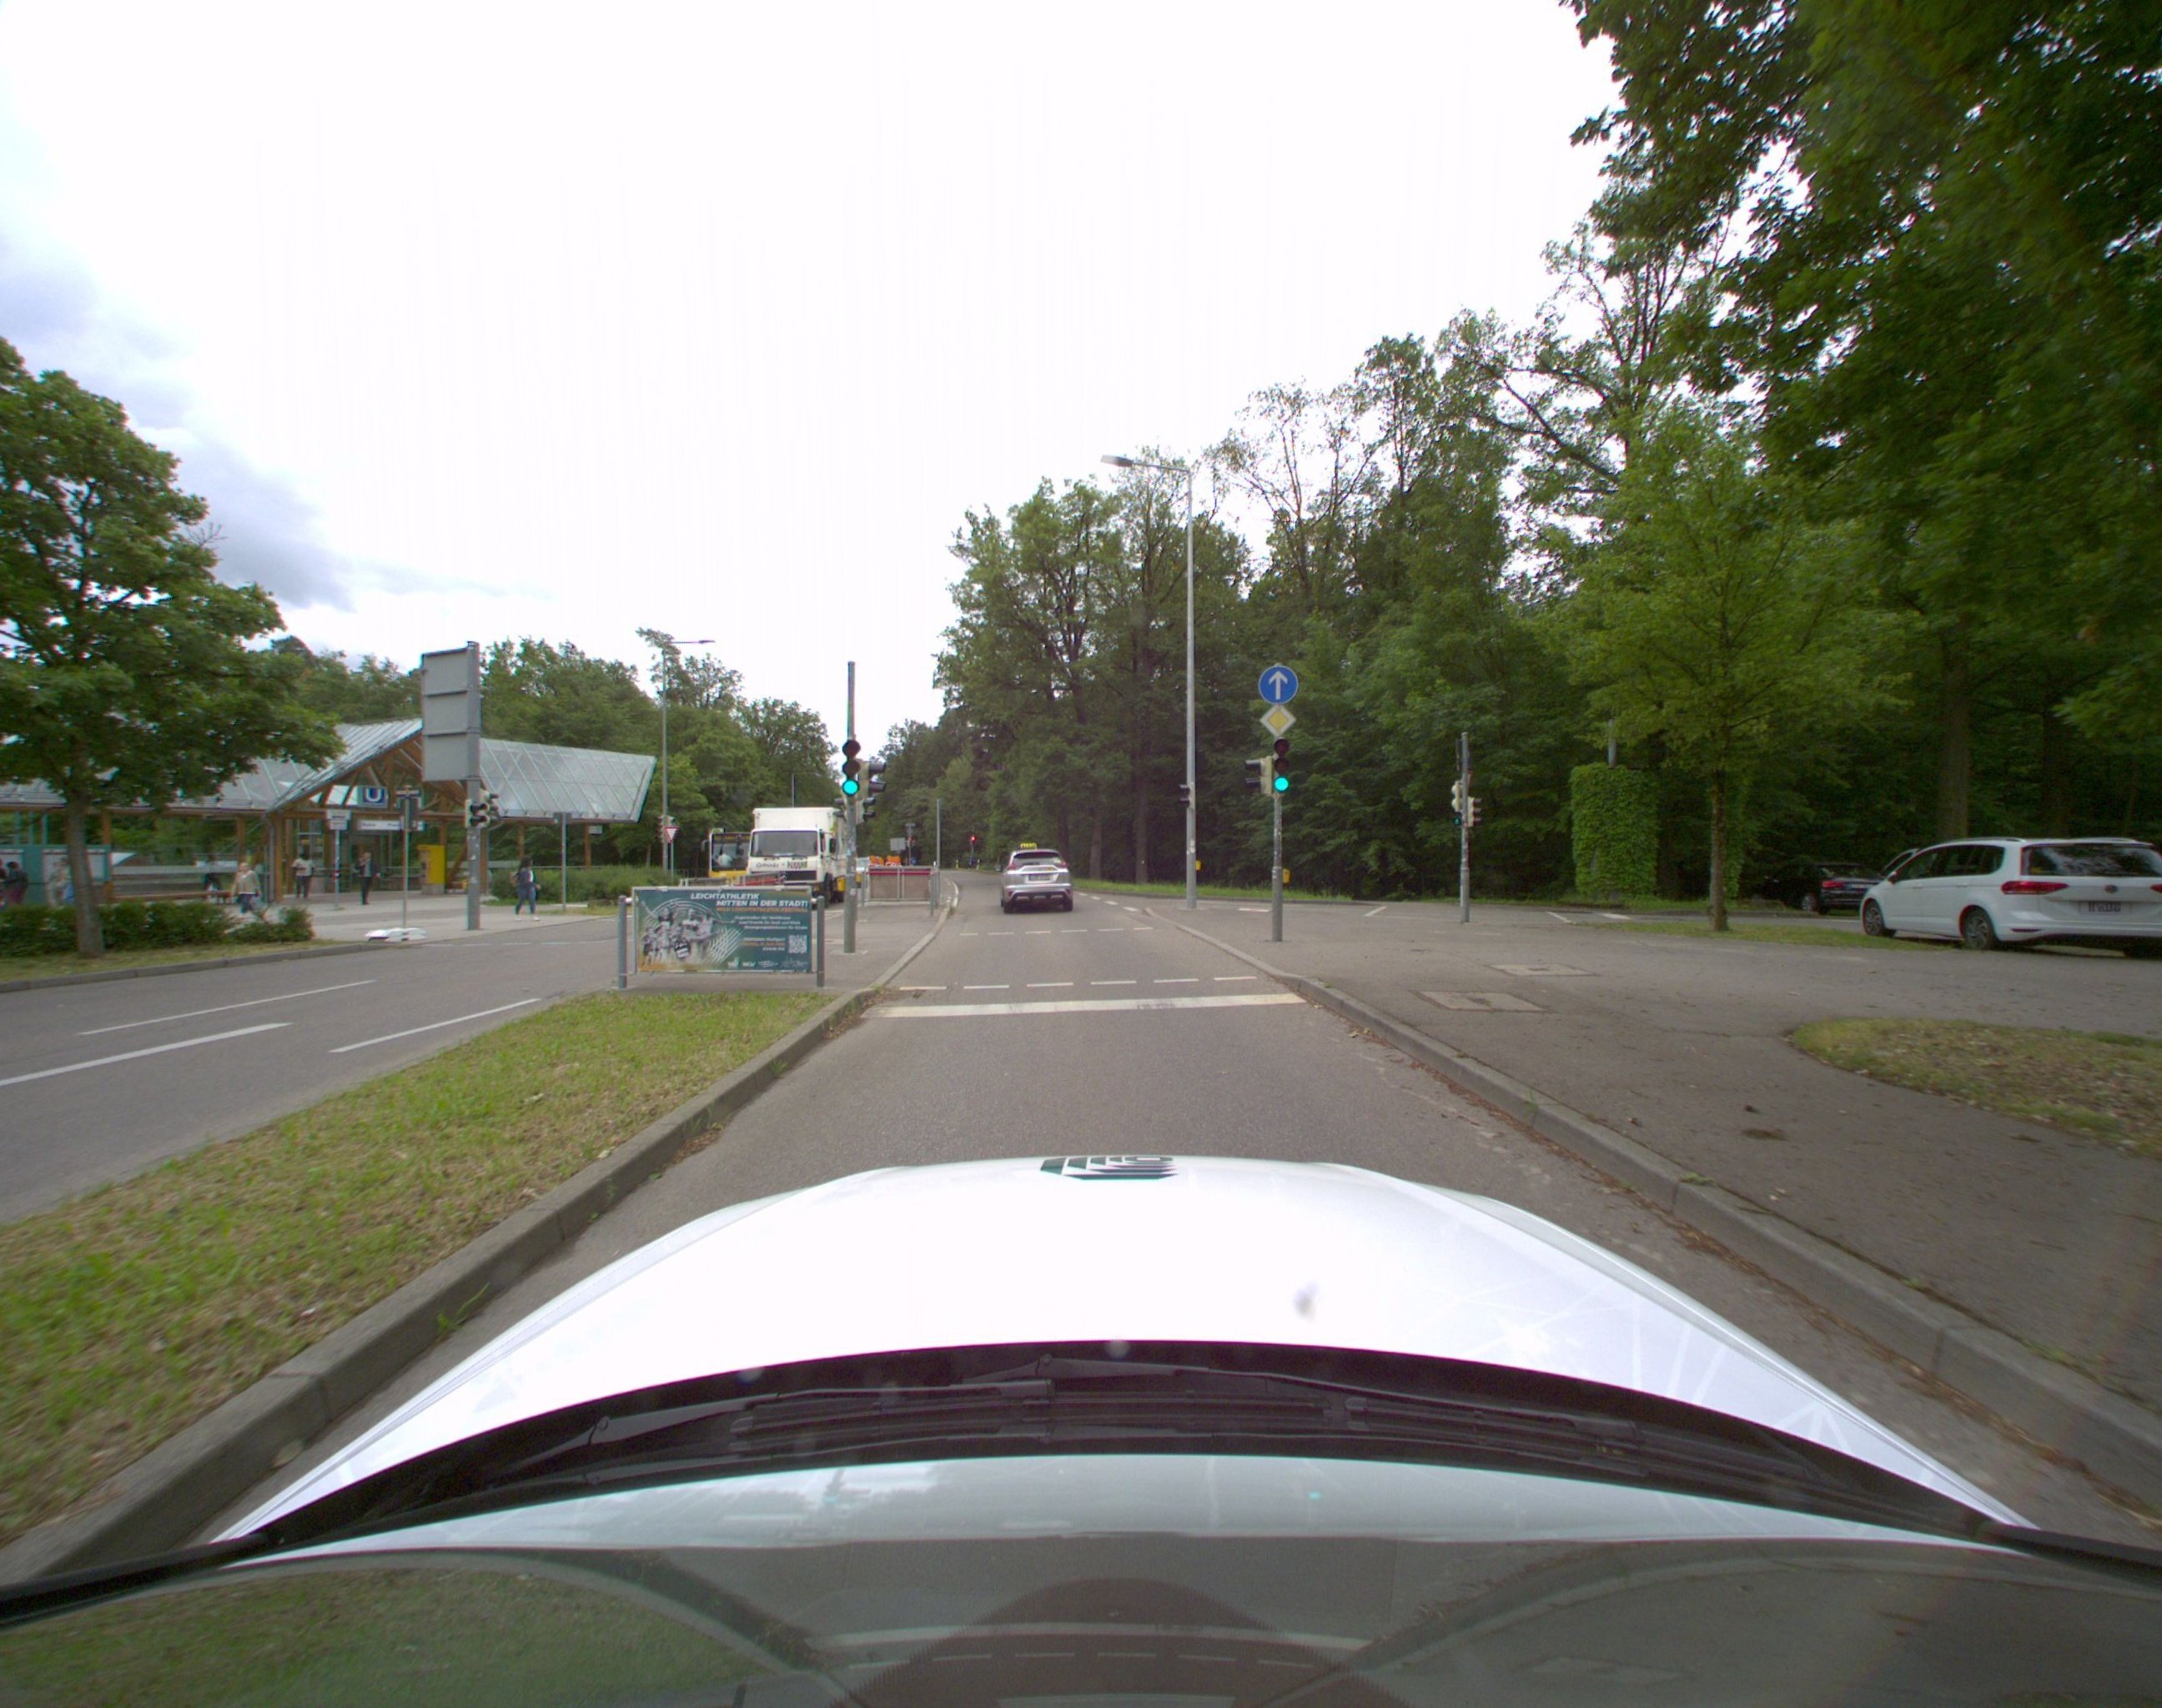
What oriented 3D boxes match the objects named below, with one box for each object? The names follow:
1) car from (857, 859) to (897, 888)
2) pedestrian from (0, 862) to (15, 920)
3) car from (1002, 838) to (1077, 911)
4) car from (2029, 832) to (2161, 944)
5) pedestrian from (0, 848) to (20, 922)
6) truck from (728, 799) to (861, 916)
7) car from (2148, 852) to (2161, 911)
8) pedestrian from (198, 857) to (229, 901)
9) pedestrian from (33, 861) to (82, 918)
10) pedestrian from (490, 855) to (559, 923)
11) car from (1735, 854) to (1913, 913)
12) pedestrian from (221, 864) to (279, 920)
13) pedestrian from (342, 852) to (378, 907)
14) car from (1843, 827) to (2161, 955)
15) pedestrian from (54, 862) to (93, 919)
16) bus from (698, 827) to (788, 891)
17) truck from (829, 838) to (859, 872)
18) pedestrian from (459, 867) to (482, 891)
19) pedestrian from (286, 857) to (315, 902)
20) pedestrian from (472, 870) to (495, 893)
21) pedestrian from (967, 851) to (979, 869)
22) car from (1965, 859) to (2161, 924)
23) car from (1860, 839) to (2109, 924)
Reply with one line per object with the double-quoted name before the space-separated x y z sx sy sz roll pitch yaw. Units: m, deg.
"car" -11.583 1.089 46.474 1.807 1.509 4.294 -2 -1 -9
"pedestrian" -30.774 1.035 23.067 0.665 1.625 0.587 1 0 28
"car" -1.099 0.492 22.093 1.842 1.780 3.996 -1 0 -2
"car" 15.983 0.484 11.402 1.872 1.552 4.021 1 0 22
"pedestrian" -22.808 0.638 16.976 0.620 1.546 0.781 0 -2 38
"truck" -9.027 0.096 26.390 2.626 3.238 6.192 -2 0 -7
"car" 30.082 0.766 20.452 1.830 1.621 4.004 1 0 12
"pedestrian" -31.325 0.885 29.420 0.460 1.554 0.610 1 0 14
"pedestrian" -29.911 1.035 23.801 0.669 1.625 0.584 1 0 4
"pedestrian" -14.097 0.872 20.643 0.901 1.676 1.099 -1 -1 18
"car" 19.974 0.735 22.138 1.804 1.420 3.860 1 0 10
"pedestrian" -23.622 1.065 23.162 0.765 1.525 0.873 1 0 -7
"pedestrian" -24.574 0.854 27.785 0.769 1.809 0.984 1 0 -34
"car" 13.700 0.447 12.113 1.976 1.552 4.444 1 0 22
"pedestrian" -29.313 1.054 23.695 0.665 1.625 0.587 1 0 28
"bus" -18.181 0.258 44.500 2.902 3.127 9.716 0 0 -13
"truck" -25.206 0.191 86.529 2.746 3.318 7.115 -3 -1 -18
"pedestrian" -26.024 1.077 34.723 0.544 0.984 0.567 1 0 6
"pedestrian" -28.408 0.929 29.649 0.664 1.596 0.680 1 0 39
"pedestrian" -25.967 1.205 35.414 0.553 0.984 0.567 1 0 5
"pedestrian" -10.294 0.593 77.464 1.047 1.649 1.065 -2 1 -10
"car" 25.029 0.875 20.589 1.808 1.414 4.068 1 0 16
"car" 22.759 0.610 20.885 1.978 1.878 4.971 1 0 16
